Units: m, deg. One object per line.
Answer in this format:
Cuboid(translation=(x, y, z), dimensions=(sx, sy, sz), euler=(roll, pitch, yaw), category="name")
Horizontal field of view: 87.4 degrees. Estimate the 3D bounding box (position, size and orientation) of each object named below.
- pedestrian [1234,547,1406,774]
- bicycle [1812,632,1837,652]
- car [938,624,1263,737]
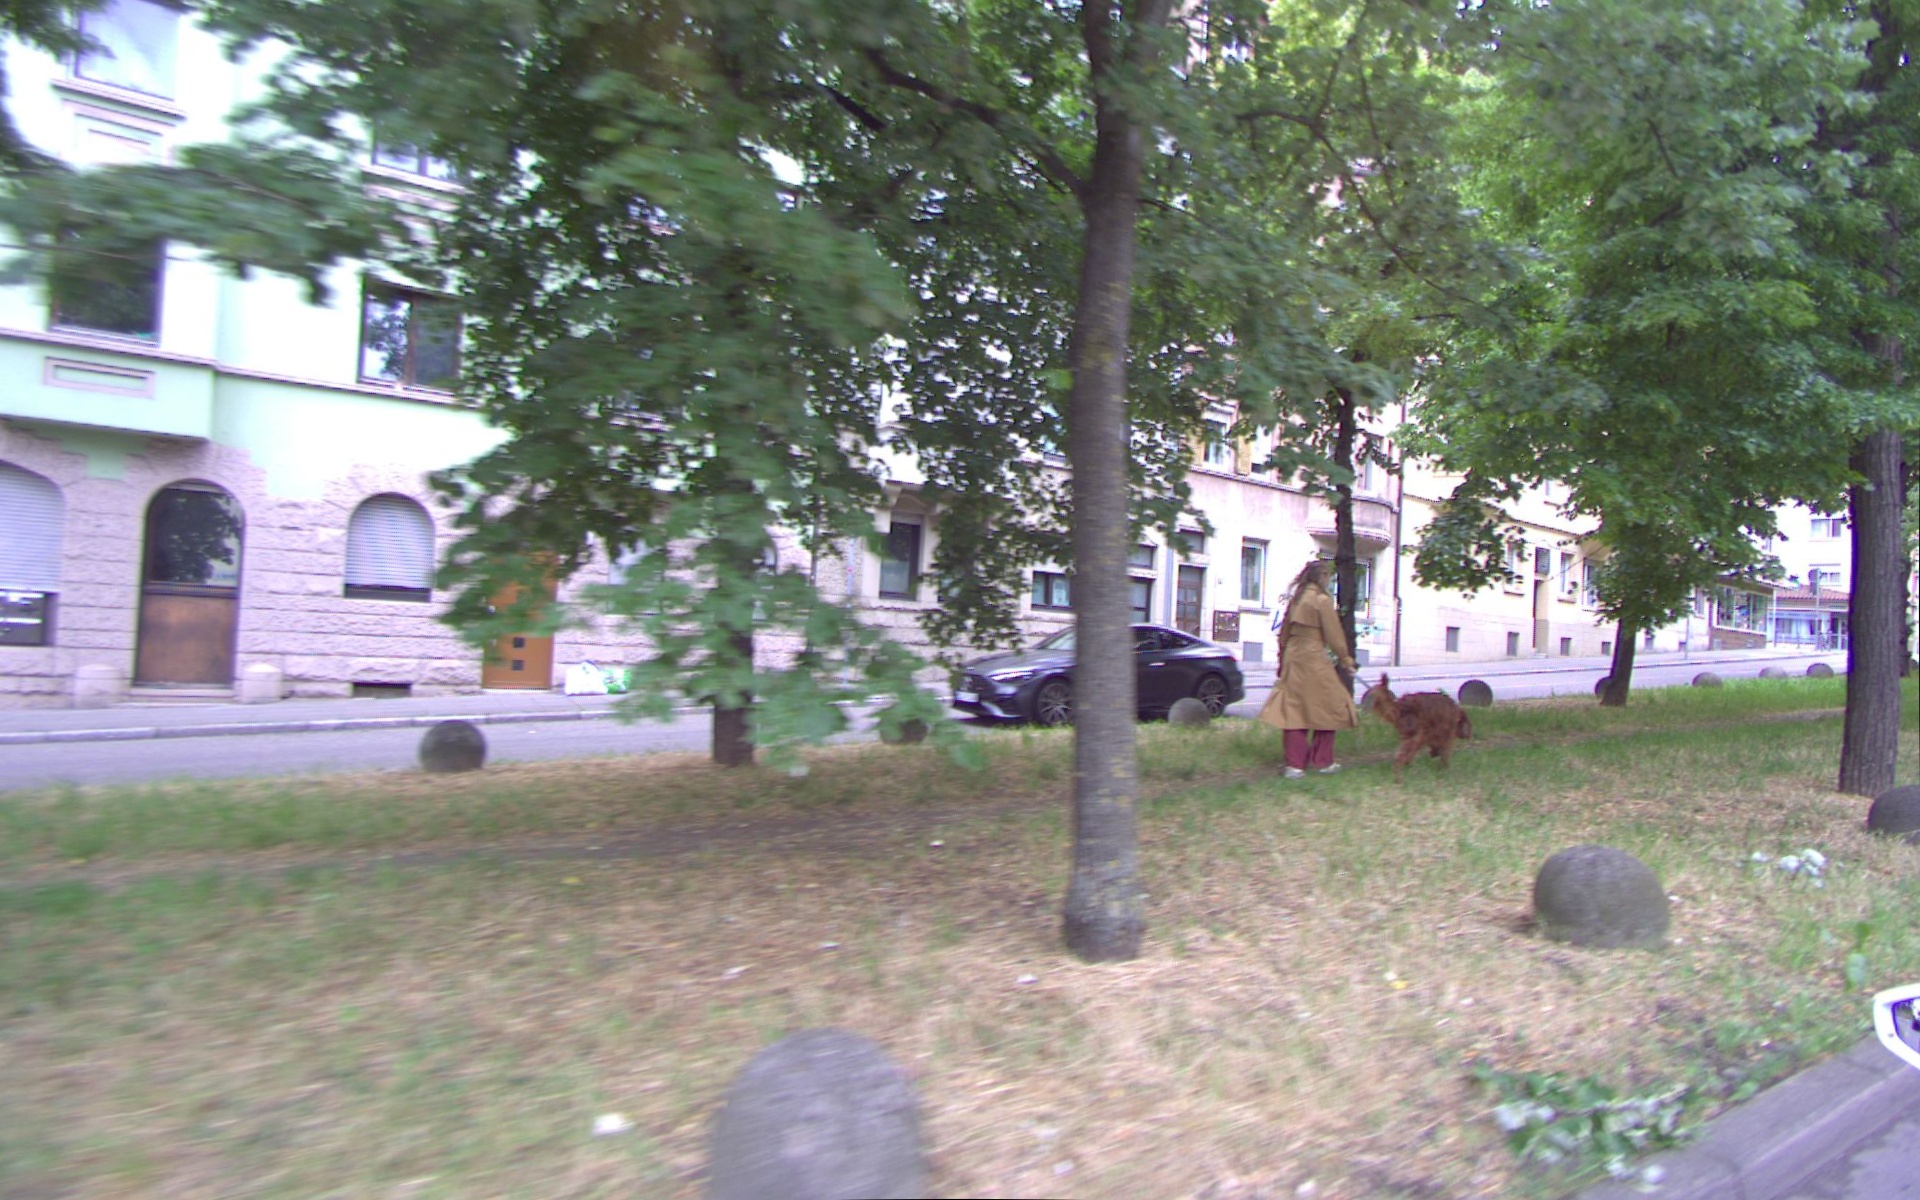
Cuboid(translation=(2.975, 0.510, 8.336), dimensions=(1.110, 1.734, 0.829), euler=(3, -5, -30), category="pedestrian")
Cuboid(translation=(51.450, 2.491, 59.791), dimensions=(0.751, 1.099, 2.033), euler=(3, -1, 31), category="bicycle")
Cuboid(translation=(2.112, 1.069, 14.698), dimensions=(4.612, 1.400, 1.751), euler=(0, -1, -30), category="car")
